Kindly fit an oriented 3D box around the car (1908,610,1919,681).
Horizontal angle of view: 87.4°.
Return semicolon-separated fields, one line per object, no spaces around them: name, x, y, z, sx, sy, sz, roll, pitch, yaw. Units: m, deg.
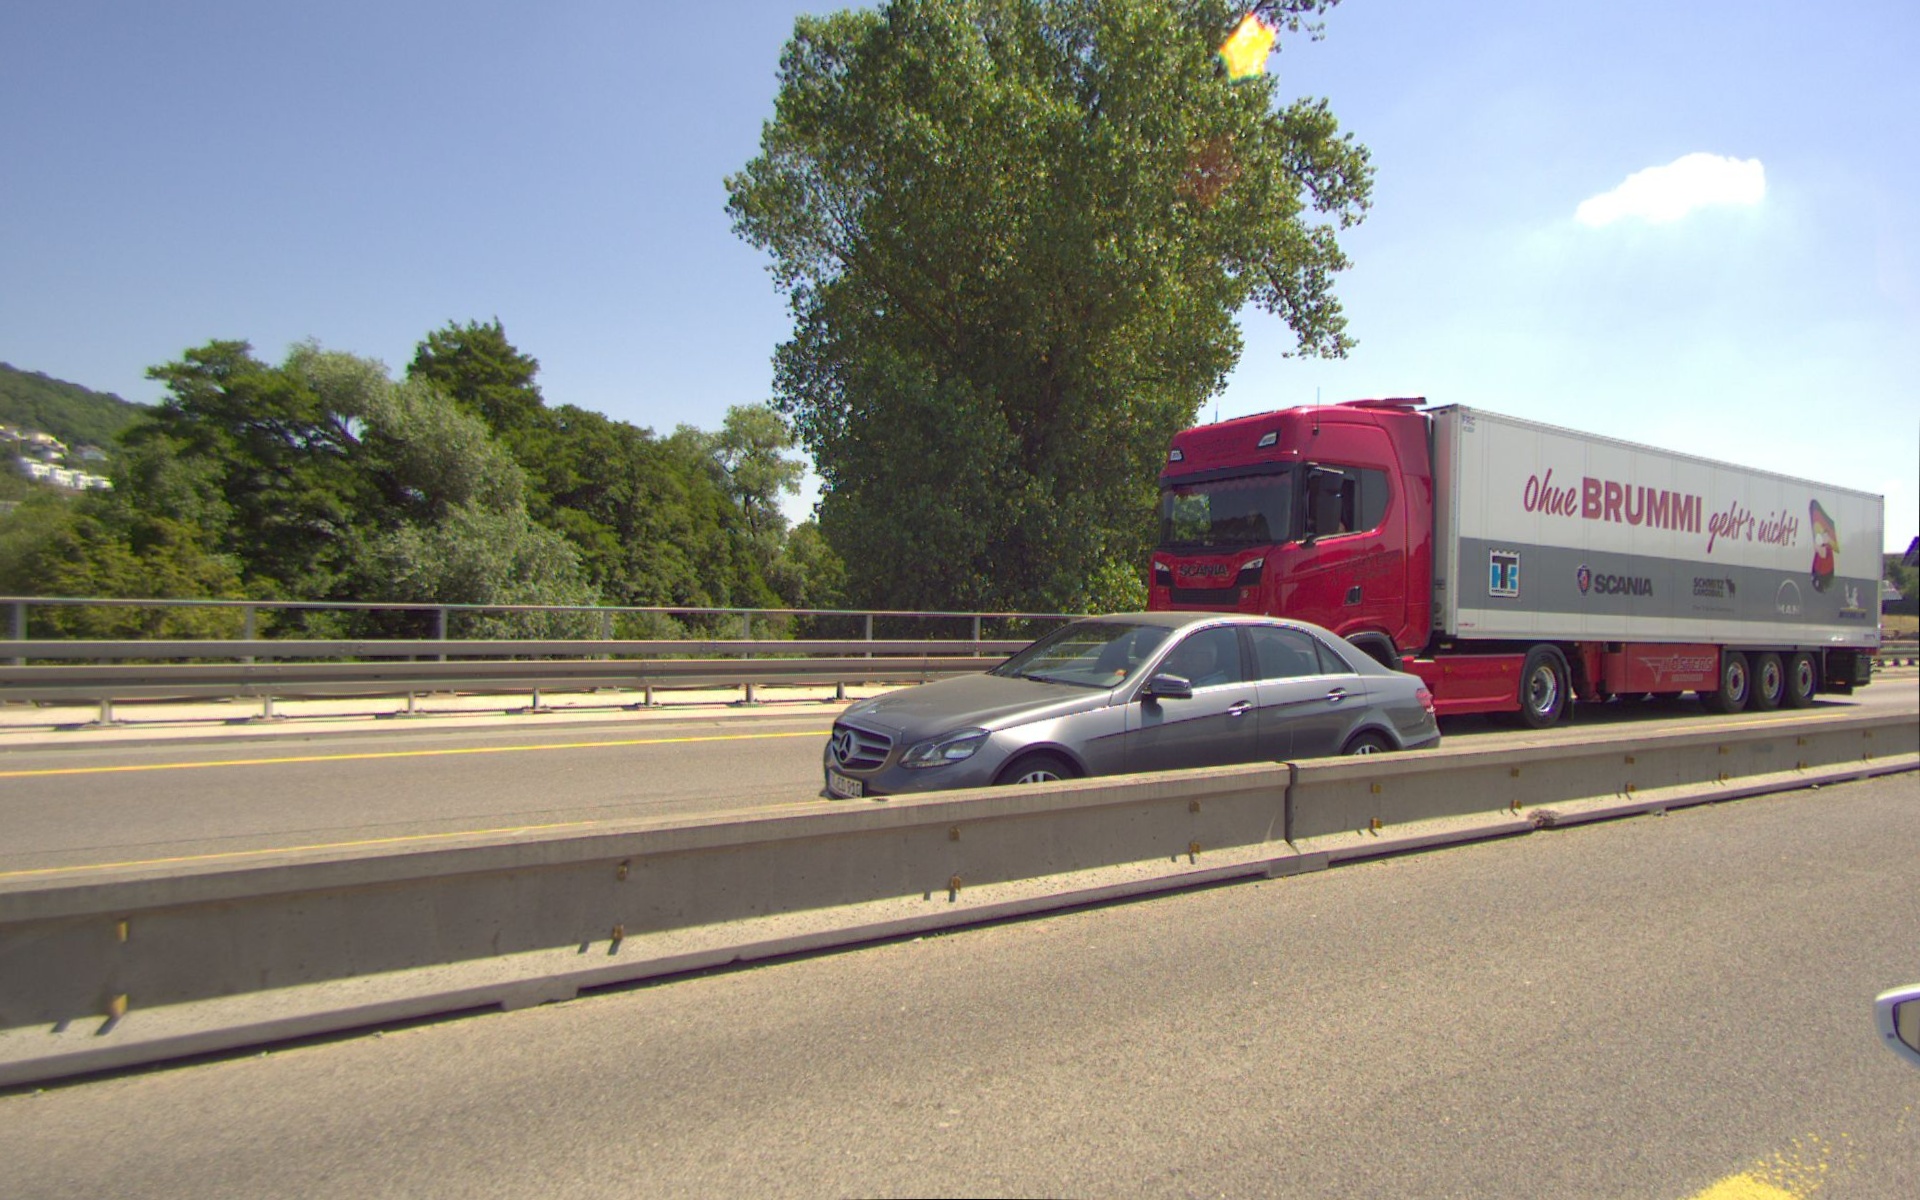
car;26.348;1.180;25.683;4.734;1.757;1.759;1;0;-30

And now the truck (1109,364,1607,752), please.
truck;5.432;-0.416;13.456;6.445;4.091;2.802;1;0;-30

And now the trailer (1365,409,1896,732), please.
trailer;12.045;-0.336;17.358;11.659;4.232;2.793;1;0;-30

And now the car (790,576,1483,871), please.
car;1.406;0.708;7.204;4.862;1.507;1.881;1;-3;-31
